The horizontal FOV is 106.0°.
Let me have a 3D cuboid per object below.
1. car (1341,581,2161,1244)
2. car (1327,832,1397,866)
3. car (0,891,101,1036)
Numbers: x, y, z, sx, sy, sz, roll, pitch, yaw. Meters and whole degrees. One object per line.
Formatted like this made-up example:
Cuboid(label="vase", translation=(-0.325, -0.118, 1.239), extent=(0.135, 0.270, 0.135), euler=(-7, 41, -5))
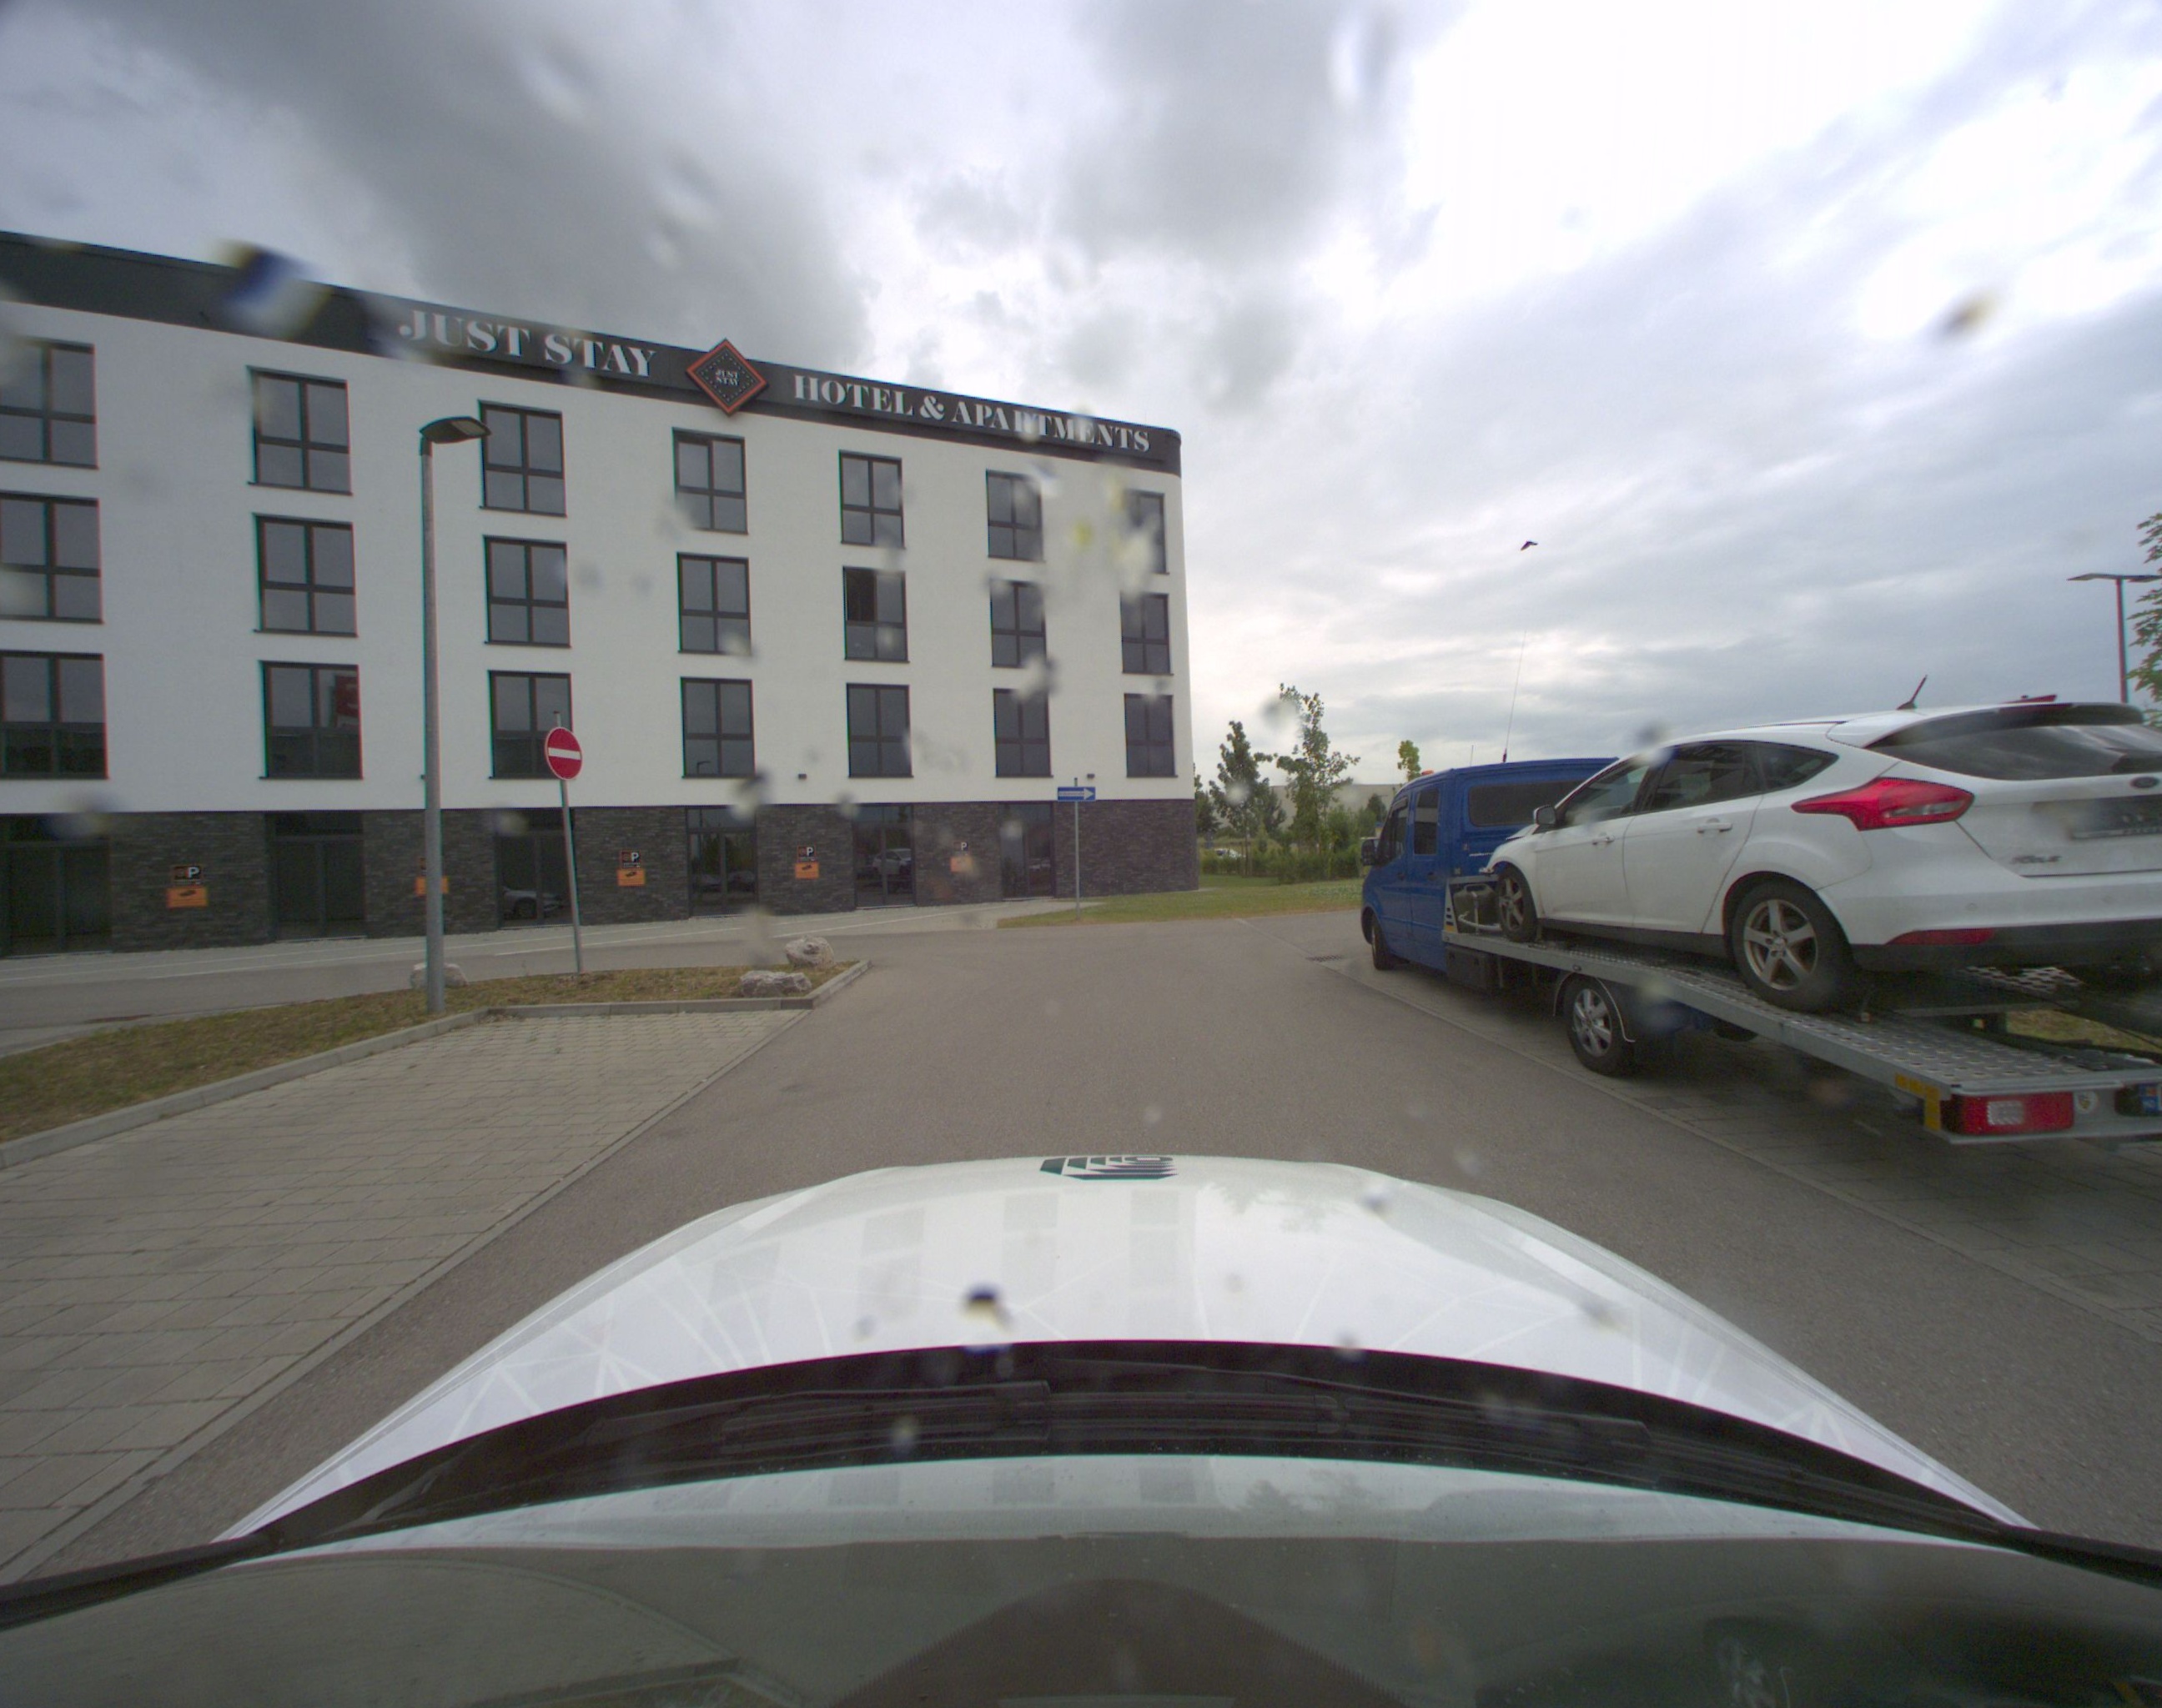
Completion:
Cuboid(label="car", translation=(4.359, 0.179, 6.787), extent=(2.185, 2.322, 7.863), euler=(-2, 0, 3))
Cuboid(label="car", translation=(16.947, -0.324, 49.411), extent=(1.992, 1.923, 4.834), euler=(-3, 1, -8))
Cuboid(label="car", translation=(-13.452, 1.222, 7.874), extent=(4.765, 1.492, 1.970), euler=(-2, -2, -16))
